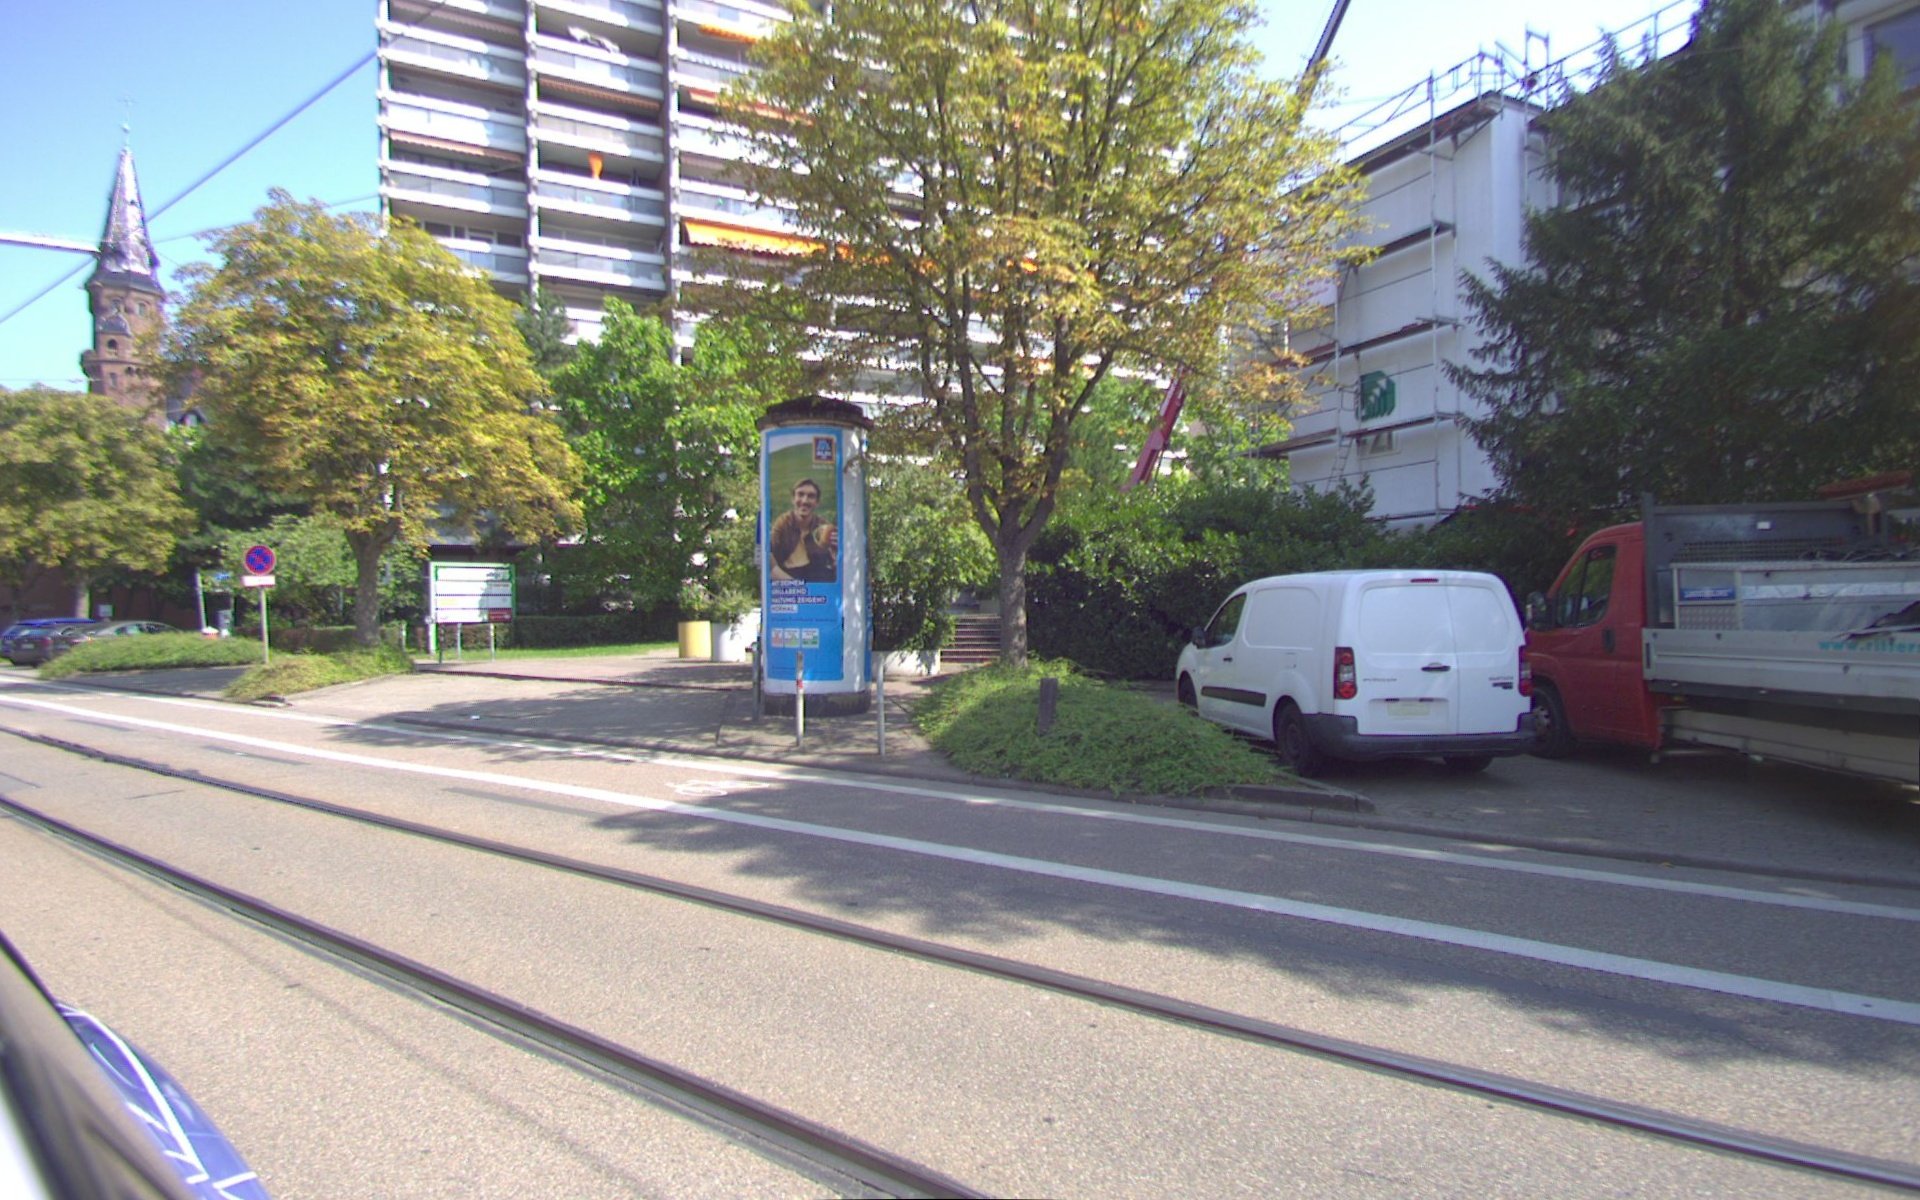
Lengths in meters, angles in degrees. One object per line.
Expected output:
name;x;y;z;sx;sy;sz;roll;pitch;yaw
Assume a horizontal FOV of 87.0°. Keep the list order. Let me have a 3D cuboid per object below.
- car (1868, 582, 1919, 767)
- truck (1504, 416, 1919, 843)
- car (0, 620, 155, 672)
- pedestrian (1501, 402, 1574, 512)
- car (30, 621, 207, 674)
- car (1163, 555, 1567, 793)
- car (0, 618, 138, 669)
car;8.904;0.579;6.872;1.694;1.519;3.866;0;-1;-7
truck;6.526;0.164;6.928;2.119;2.453;5.972;-1;0;-3
car;-29.820;1.507;34.196;1.761;1.582;3.988;-1;-1;9
pedestrian;10.003;-2.447;17.537;0.739;1.739;0.853;-1;0;-37
car;-27.082;1.500;32.760;1.761;1.508;4.282;-1;-1;10
car;3.564;0.592;9.922;1.797;1.785;4.292;-1;-1;-7
car;-32.255;1.535;36.347;1.823;1.660;3.983;-2;-1;13
